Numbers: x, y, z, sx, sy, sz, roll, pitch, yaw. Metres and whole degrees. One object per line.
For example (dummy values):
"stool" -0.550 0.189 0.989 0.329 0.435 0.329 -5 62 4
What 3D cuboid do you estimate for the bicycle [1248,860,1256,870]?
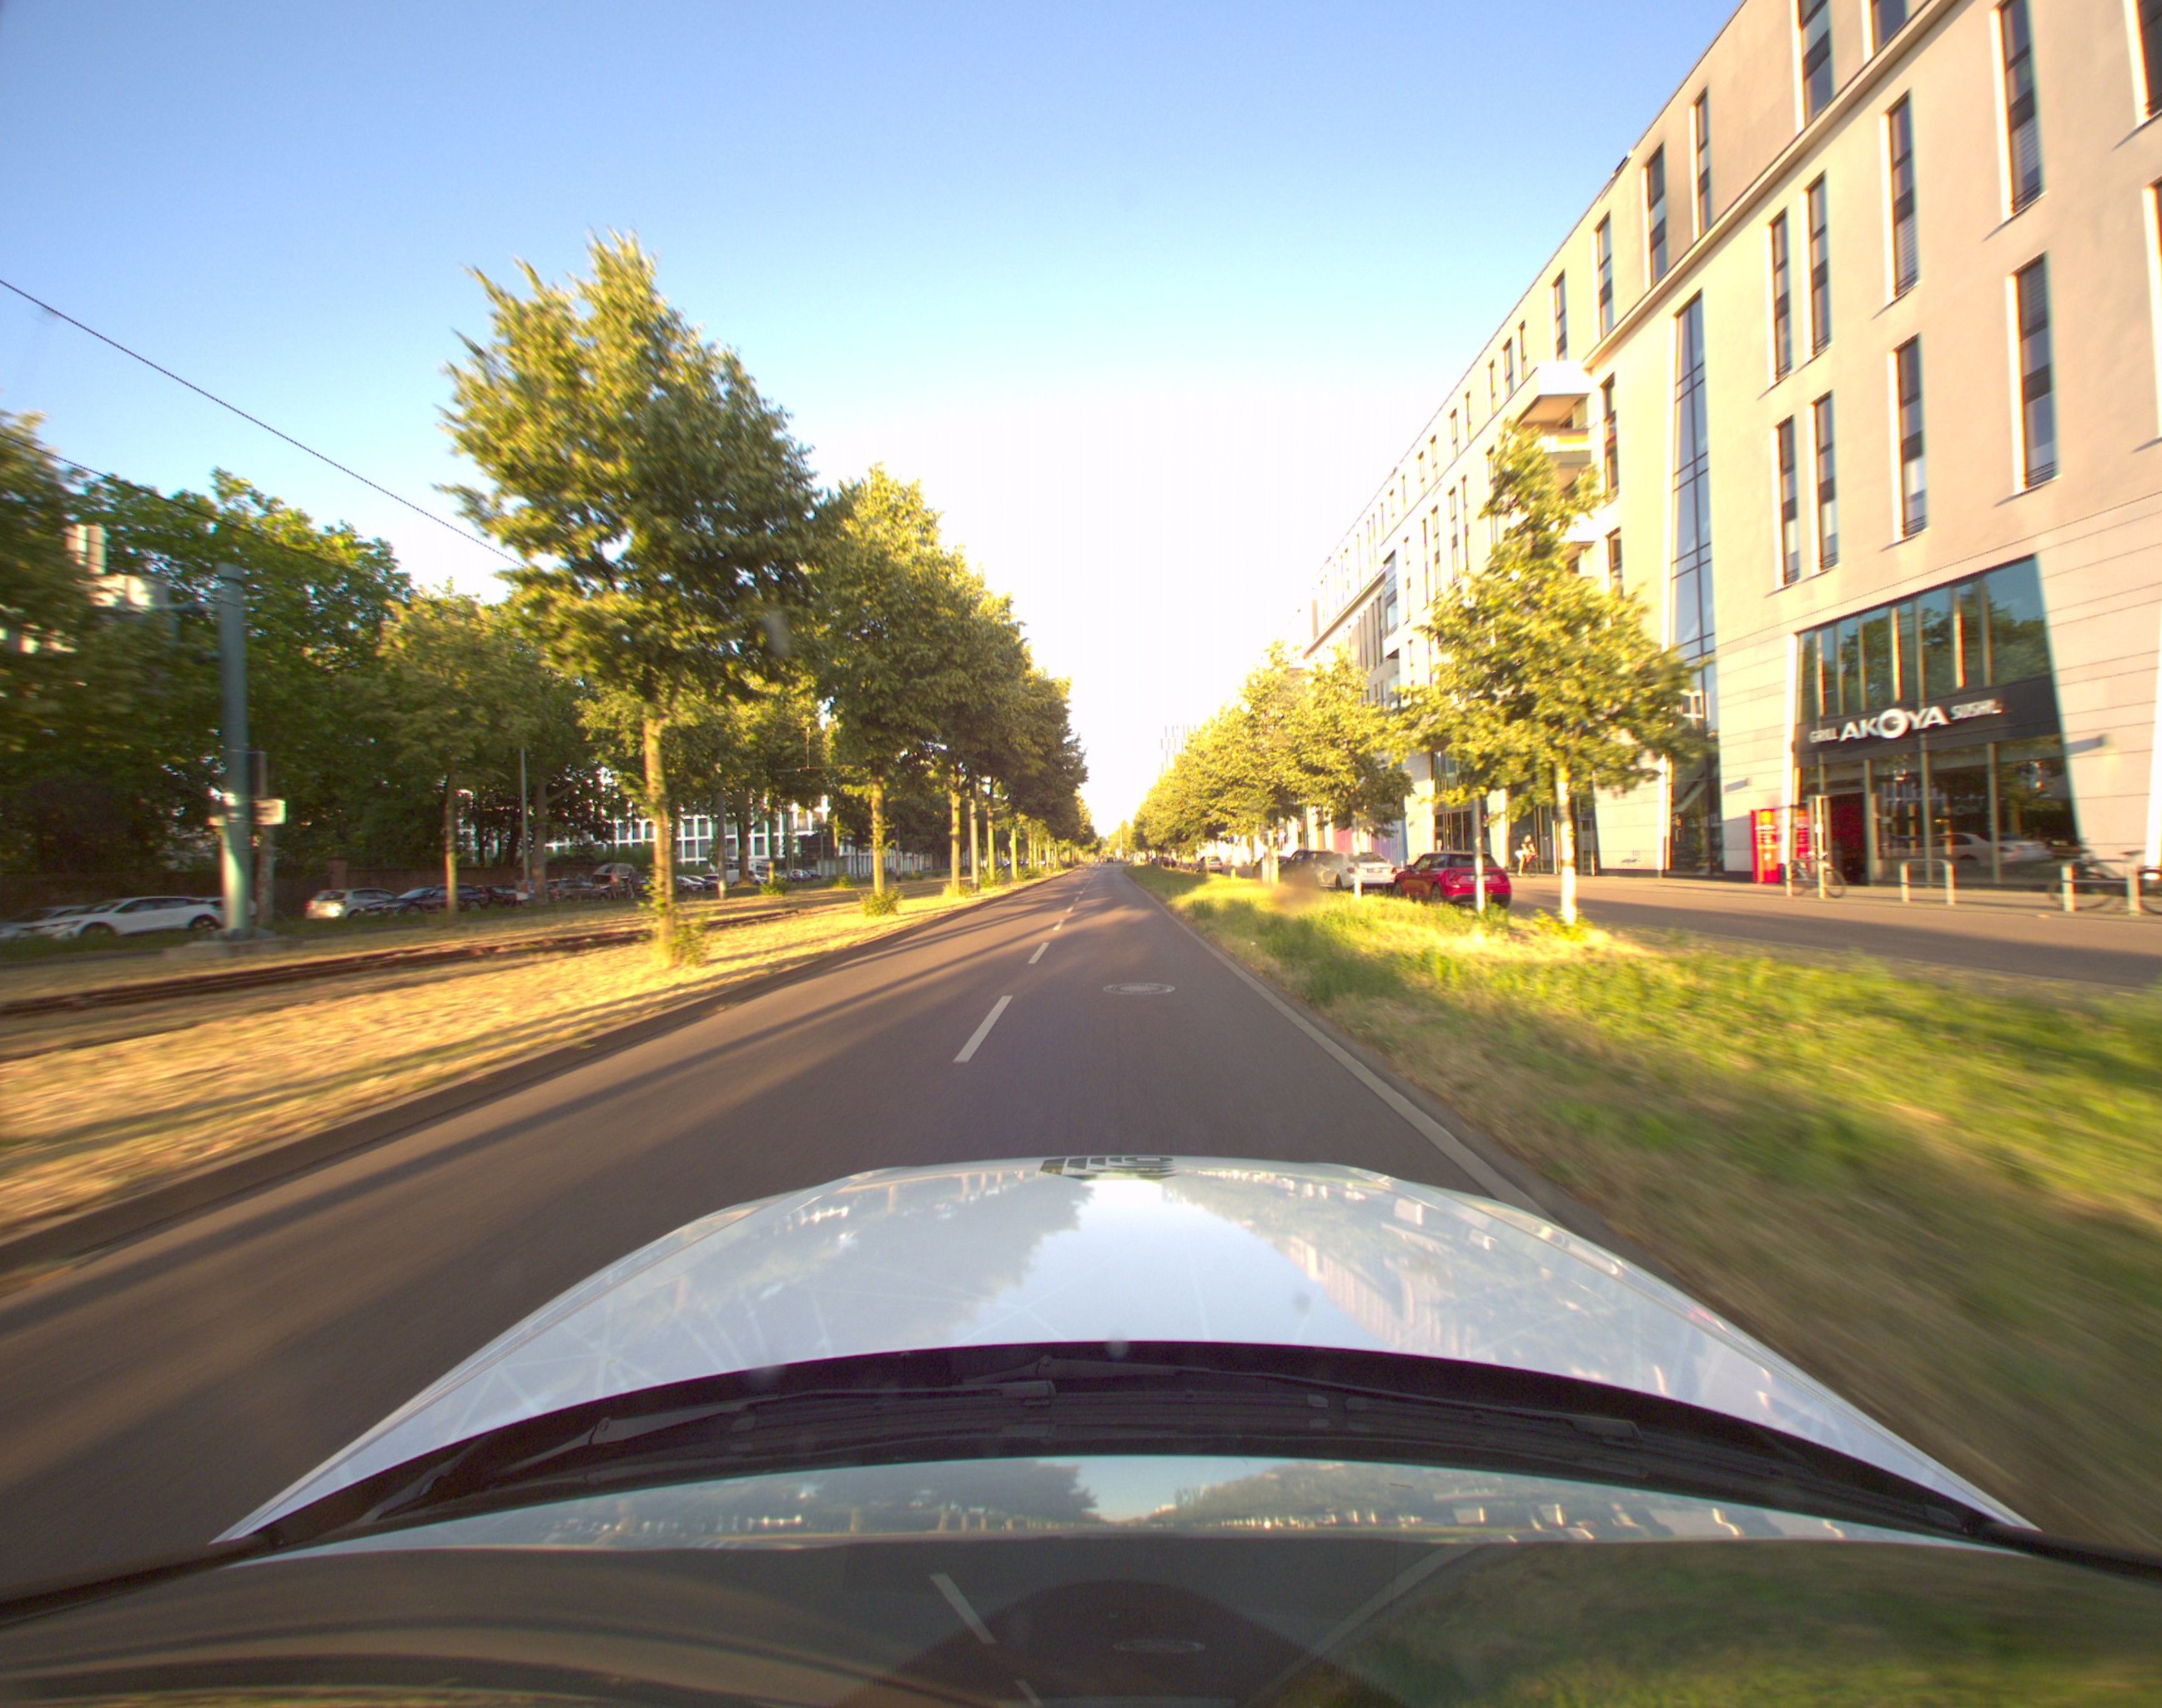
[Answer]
"bicycle" 18.895 1.191 90.247 0.531 1.061 1.858 -2 -1 2

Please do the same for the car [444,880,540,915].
"car" -29.865 2.187 41.451 1.793 1.560 3.845 -2 -1 7

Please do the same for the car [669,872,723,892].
"car" -35.629 2.576 75.391 3.976 1.640 1.921 -2 -1 -2

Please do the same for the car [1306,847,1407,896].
"car" 9.593 0.583 28.851 1.914 1.501 5.010 -2 0 1

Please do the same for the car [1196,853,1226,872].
"car" 11.114 0.716 69.987 1.802 1.501 4.826 -2 0 1

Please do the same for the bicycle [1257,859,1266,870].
"bicycle" 19.187 1.119 86.394 0.531 1.061 1.858 -4 -1 2

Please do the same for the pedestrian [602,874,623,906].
"pedestrian" -26.274 2.028 45.693 0.692 1.759 0.864 -2 -1 -6

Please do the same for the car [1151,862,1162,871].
"car" 12.977 2.187 139.917 1.718 1.530 4.269 -1 -1 1

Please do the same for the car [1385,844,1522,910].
"car" 9.585 0.565 21.316 1.802 1.501 3.960 -2 -1 1

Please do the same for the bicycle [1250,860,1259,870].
"bicycle" 18.681 1.185 87.582 0.531 1.061 1.858 -4 -1 2

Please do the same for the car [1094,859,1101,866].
"car" 4.718 2.394 232.988 2.080 2.014 4.000 -2 -1 1

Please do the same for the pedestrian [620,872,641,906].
"pedestrian" -25.622 1.974 46.353 0.692 1.870 0.864 -2 -1 -6

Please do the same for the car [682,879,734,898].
"car" -35.890 3.325 78.415 3.976 1.640 1.921 -2 -1 -2

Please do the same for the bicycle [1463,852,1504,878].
"bicycle" 17.075 0.460 34.592 0.618 1.033 2.261 -2 -1 1

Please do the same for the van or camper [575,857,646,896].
"van or camper" -35.310 1.655 61.327 2.078 2.735 5.494 -2 -1 0

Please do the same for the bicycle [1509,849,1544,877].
"bicycle" 18.566 0.368 33.991 0.540 1.118 1.915 -2 -1 5

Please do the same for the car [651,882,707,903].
"car" -35.855 3.440 72.648 3.970 1.640 1.923 -2 -1 3

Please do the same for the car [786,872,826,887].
"car" -32.874 3.003 97.414 3.976 1.640 1.921 -2 -1 -2

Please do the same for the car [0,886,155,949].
"car" -37.598 2.284 30.062 1.982 2.014 4.009 -2 -1 8

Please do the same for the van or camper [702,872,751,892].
"van or camper" -35.459 2.790 81.503 3.986 1.791 1.994 -2 -1 -9

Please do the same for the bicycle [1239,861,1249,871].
"bicycle" 18.225 1.305 90.988 0.533 1.061 1.776 -4 -1 -7

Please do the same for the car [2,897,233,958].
"car" -29.509 2.189 25.188 1.892 1.499 4.309 -2 -1 2

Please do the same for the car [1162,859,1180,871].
"car" 12.558 1.594 113.965 1.937 1.549 4.810 -2 -1 0

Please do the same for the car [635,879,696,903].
"car" -29.366 2.590 57.695 1.984 1.486 4.005 -2 -1 5

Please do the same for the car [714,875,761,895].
"car" -35.708 3.212 84.645 3.972 1.844 2.013 -2 -1 2

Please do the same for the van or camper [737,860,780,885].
"van or camper" -42.606 2.371 107.824 2.697 3.085 6.271 -2 -1 5

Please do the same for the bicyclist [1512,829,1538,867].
"bicyclist" 18.552 -0.236 34.016 0.542 1.568 1.021 -2 -1 5

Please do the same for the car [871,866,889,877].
"car" -31.338 2.713 127.120 1.852 1.582 3.494 -2 -1 2

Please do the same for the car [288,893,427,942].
"car" -30.972 2.680 35.043 1.983 1.750 4.168 -2 -1 7

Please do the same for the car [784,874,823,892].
"car" -33.893 3.552 99.581 3.976 2.014 1.998 -2 -1 -2

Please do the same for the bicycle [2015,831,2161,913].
"bicycle" 16.382 0.273 13.149 0.615 1.231 1.670 -2 -1 0

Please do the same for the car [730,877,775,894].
"car" -35.208 3.417 87.248 3.964 1.640 1.926 -2 -1 8

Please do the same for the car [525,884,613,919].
"car" -29.127 2.685 46.494 1.983 1.750 4.168 -2 -1 7

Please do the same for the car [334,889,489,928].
"car" -28.383 2.284 34.808 1.984 1.315 5.150 -2 -1 5

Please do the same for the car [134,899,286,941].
"car" -37.246 2.788 34.993 1.982 1.486 4.010 -2 -1 9

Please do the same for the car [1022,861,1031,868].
"car" -13.610 2.627 202.440 1.878 1.578 4.183 -2 -1 1

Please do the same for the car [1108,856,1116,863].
"car" 8.345 1.474 218.397 1.986 2.014 4.000 -2 -1 1

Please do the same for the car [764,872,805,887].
"car" -34.508 2.943 94.896 3.976 1.640 1.921 -2 -1 -2

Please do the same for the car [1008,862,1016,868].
"car" -18.172 2.764 213.433 1.828 1.490 3.505 -2 0 -2

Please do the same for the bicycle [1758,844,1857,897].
"bicycle" 16.605 0.372 18.679 0.544 1.128 1.868 -3 -1 0

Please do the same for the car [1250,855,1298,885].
"car" 10.312 0.849 43.766 1.717 1.501 4.234 -1 0 2

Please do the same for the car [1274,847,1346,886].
"car" 10.099 0.542 36.298 1.946 1.623 4.821 0 -1 1

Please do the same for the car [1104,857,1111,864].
"car" 7.661 1.977 238.077 1.986 2.014 4.002 -1 0 2

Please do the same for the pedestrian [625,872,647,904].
"pedestrian" -24.998 1.879 45.736 0.691 1.743 0.866 -2 -1 -1

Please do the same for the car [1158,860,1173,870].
"car" 12.579 1.616 121.208 1.848 1.530 4.484 -1 -1 1

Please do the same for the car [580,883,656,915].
"car" -29.293 2.828 51.692 1.986 1.750 4.791 -2 -1 1
